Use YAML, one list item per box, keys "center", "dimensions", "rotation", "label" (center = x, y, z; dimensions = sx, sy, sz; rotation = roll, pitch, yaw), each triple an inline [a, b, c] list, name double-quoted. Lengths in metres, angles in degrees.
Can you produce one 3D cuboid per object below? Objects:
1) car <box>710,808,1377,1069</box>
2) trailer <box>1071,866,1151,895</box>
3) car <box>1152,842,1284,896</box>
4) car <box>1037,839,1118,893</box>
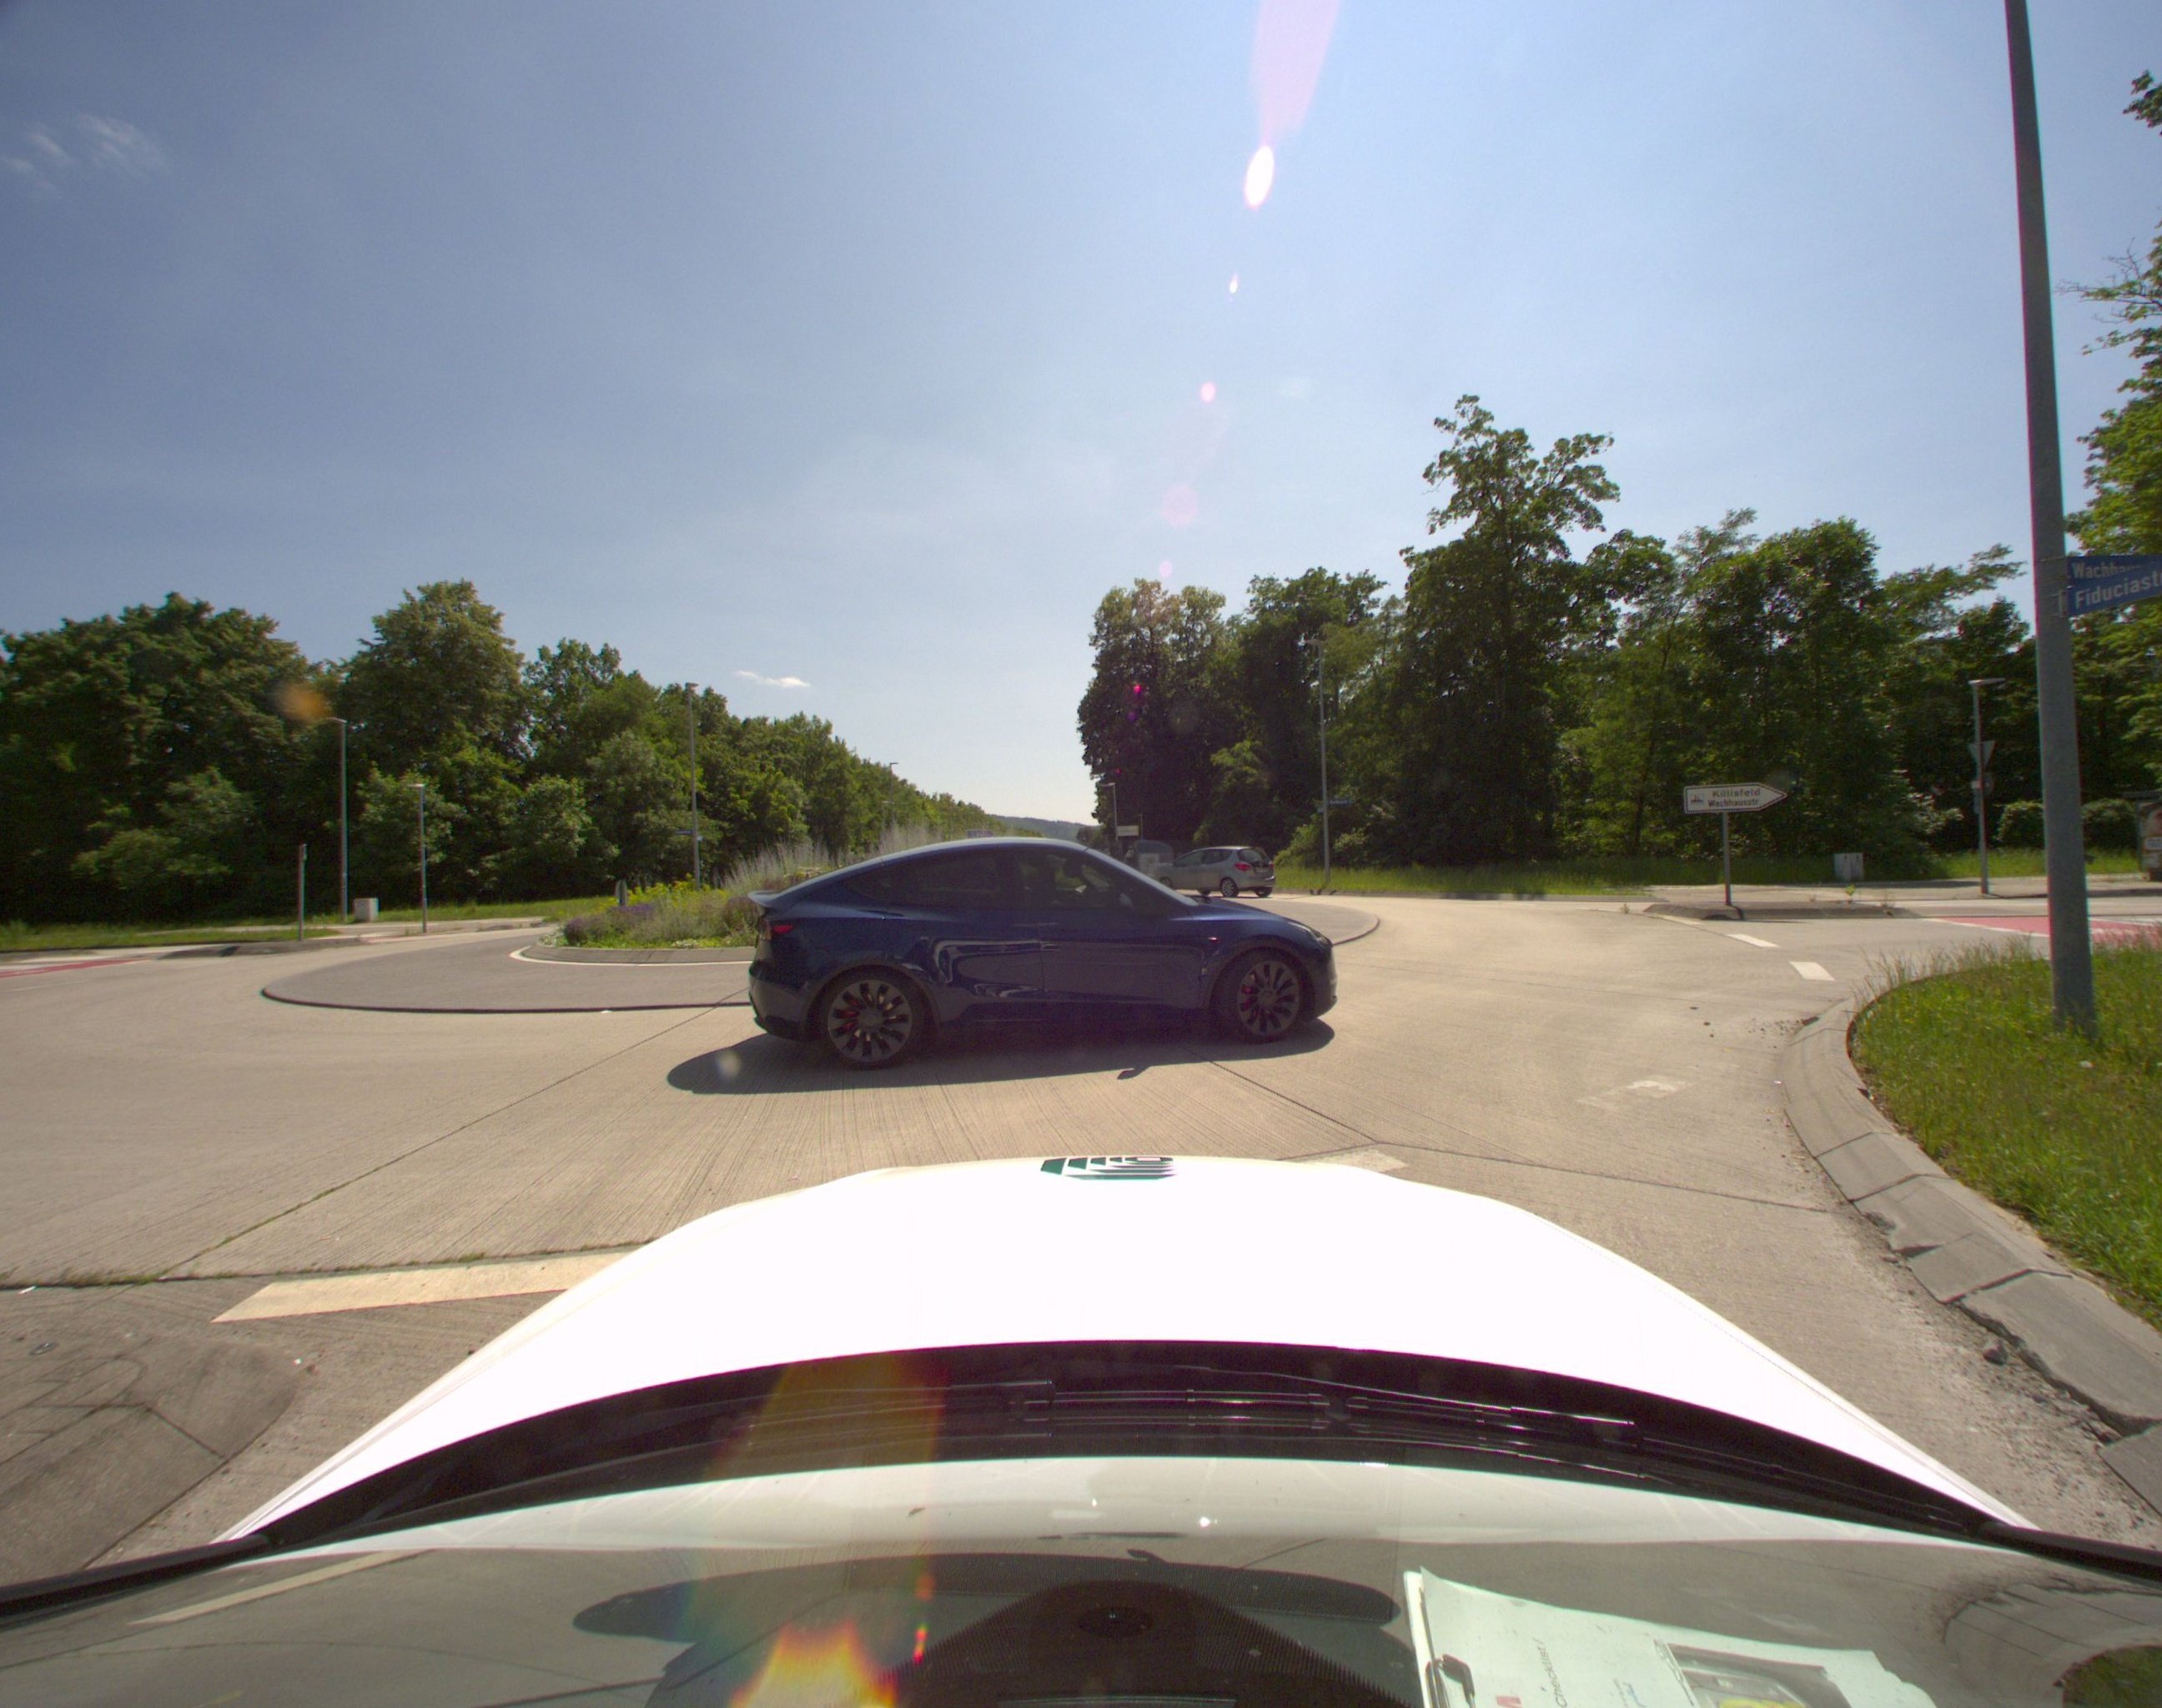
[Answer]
- center: [-0.256, 0.554, 6.806]
  dimensions: [4.739, 1.640, 1.994]
  rotation: [-2, 0, -8]
  label: "car"
- center: [1.192, 1.080, 33.986]
  dimensions: [2.130, 1.097, 3.329]
  rotation: [-1, -1, -23]
  label: "trailer"
- center: [4.350, 0.493, 26.326]
  dimensions: [1.798, 1.607, 4.081]
  rotation: [0, -1, -37]
  label: "car"
- center: [-0.271, 0.565, 37.875]
  dimensions: [2.174, 2.316, 4.946]
  rotation: [-1, -1, -21]
  label: "car"
